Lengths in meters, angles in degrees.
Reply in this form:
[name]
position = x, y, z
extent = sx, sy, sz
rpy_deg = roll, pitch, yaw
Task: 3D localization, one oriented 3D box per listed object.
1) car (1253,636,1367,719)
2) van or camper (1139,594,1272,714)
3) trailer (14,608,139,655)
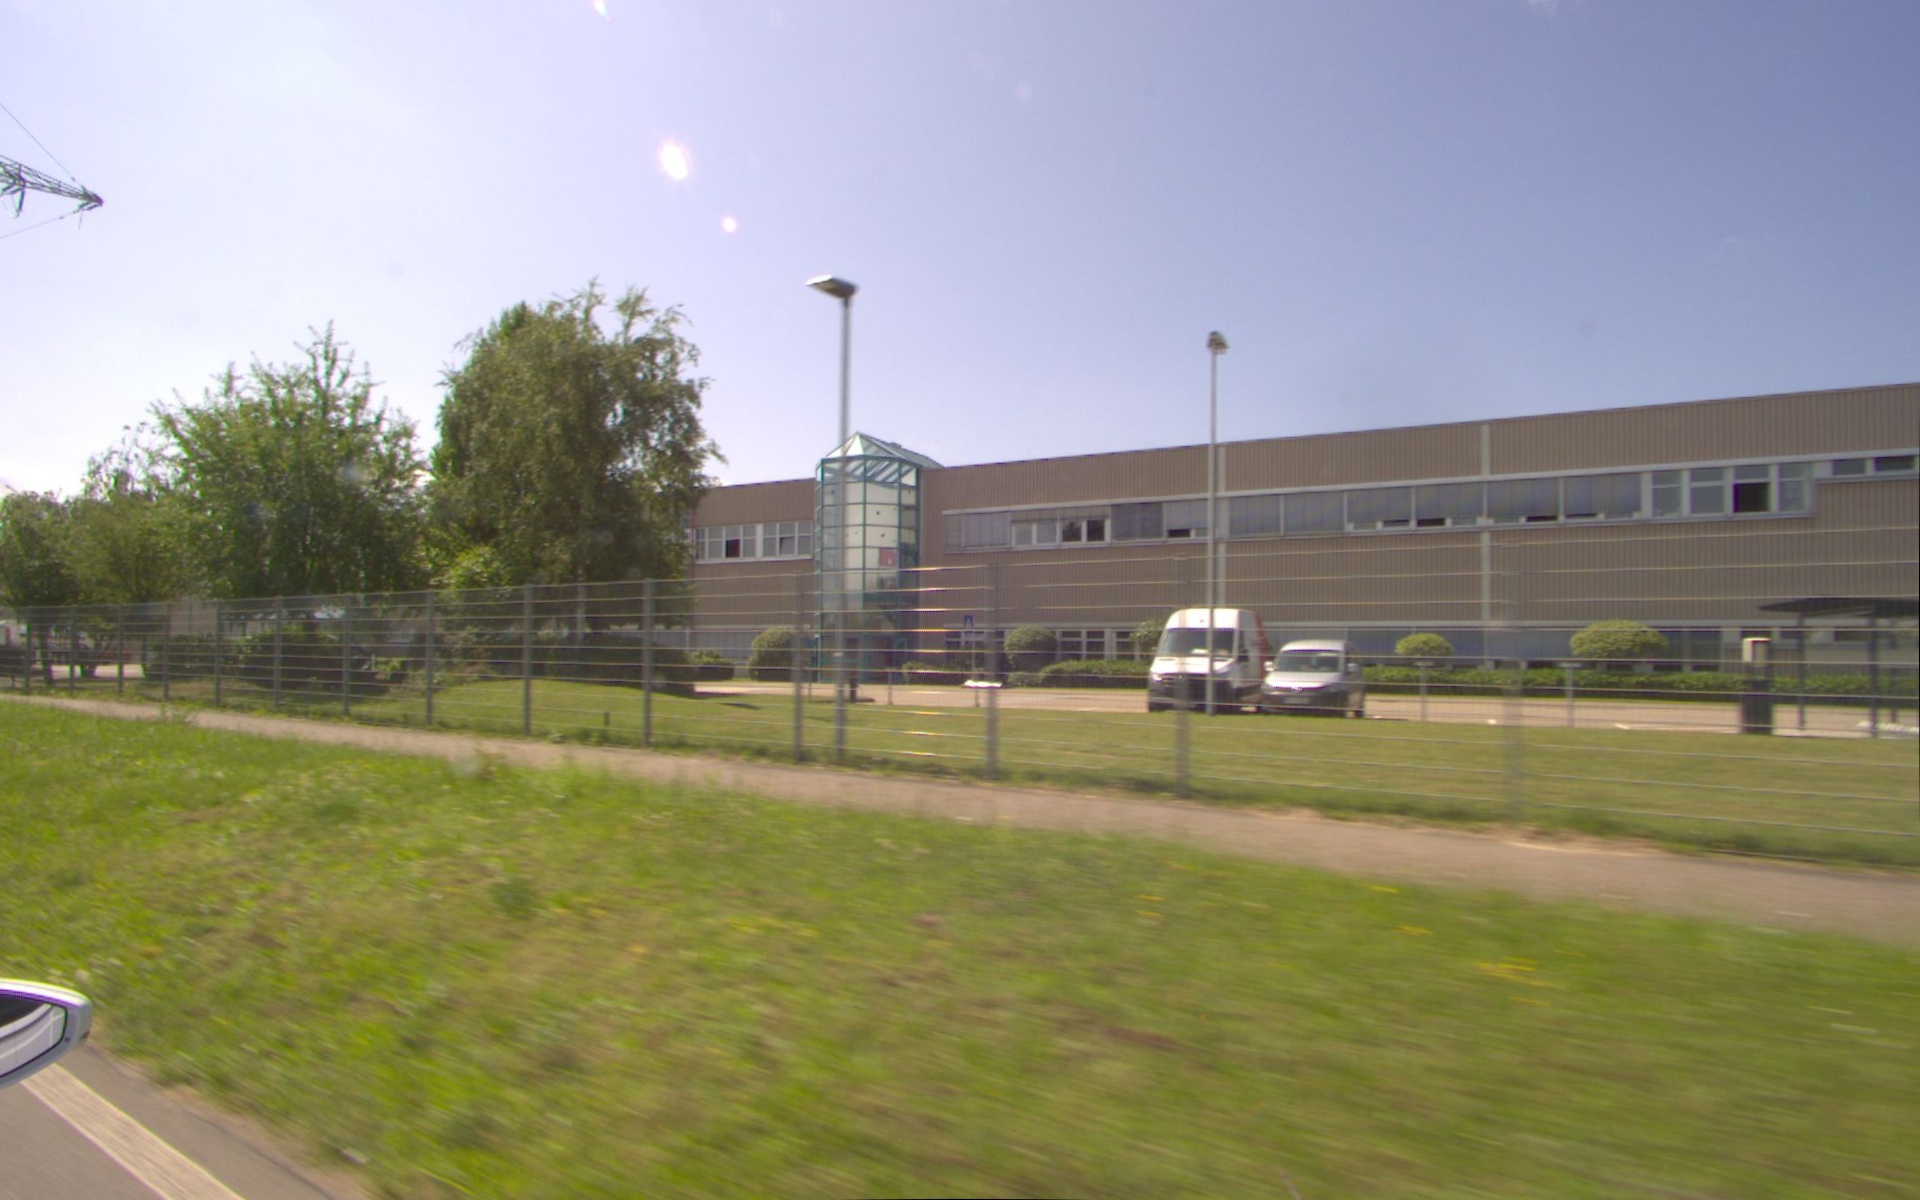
[car]
position = 7.921, 1.698, 22.450
extent = 1.968, 1.660, 3.989
rpy_deg = 0, -3, 26
[van or camper]
position = 6.101, 1.438, 24.292
extent = 1.968, 2.547, 5.779
rpy_deg = 0, -6, 26
[trailer]
position = -75.391, 2.660, 85.381
extent = 12.041, 3.783, 3.591
rpy_deg = -1, -1, 26
